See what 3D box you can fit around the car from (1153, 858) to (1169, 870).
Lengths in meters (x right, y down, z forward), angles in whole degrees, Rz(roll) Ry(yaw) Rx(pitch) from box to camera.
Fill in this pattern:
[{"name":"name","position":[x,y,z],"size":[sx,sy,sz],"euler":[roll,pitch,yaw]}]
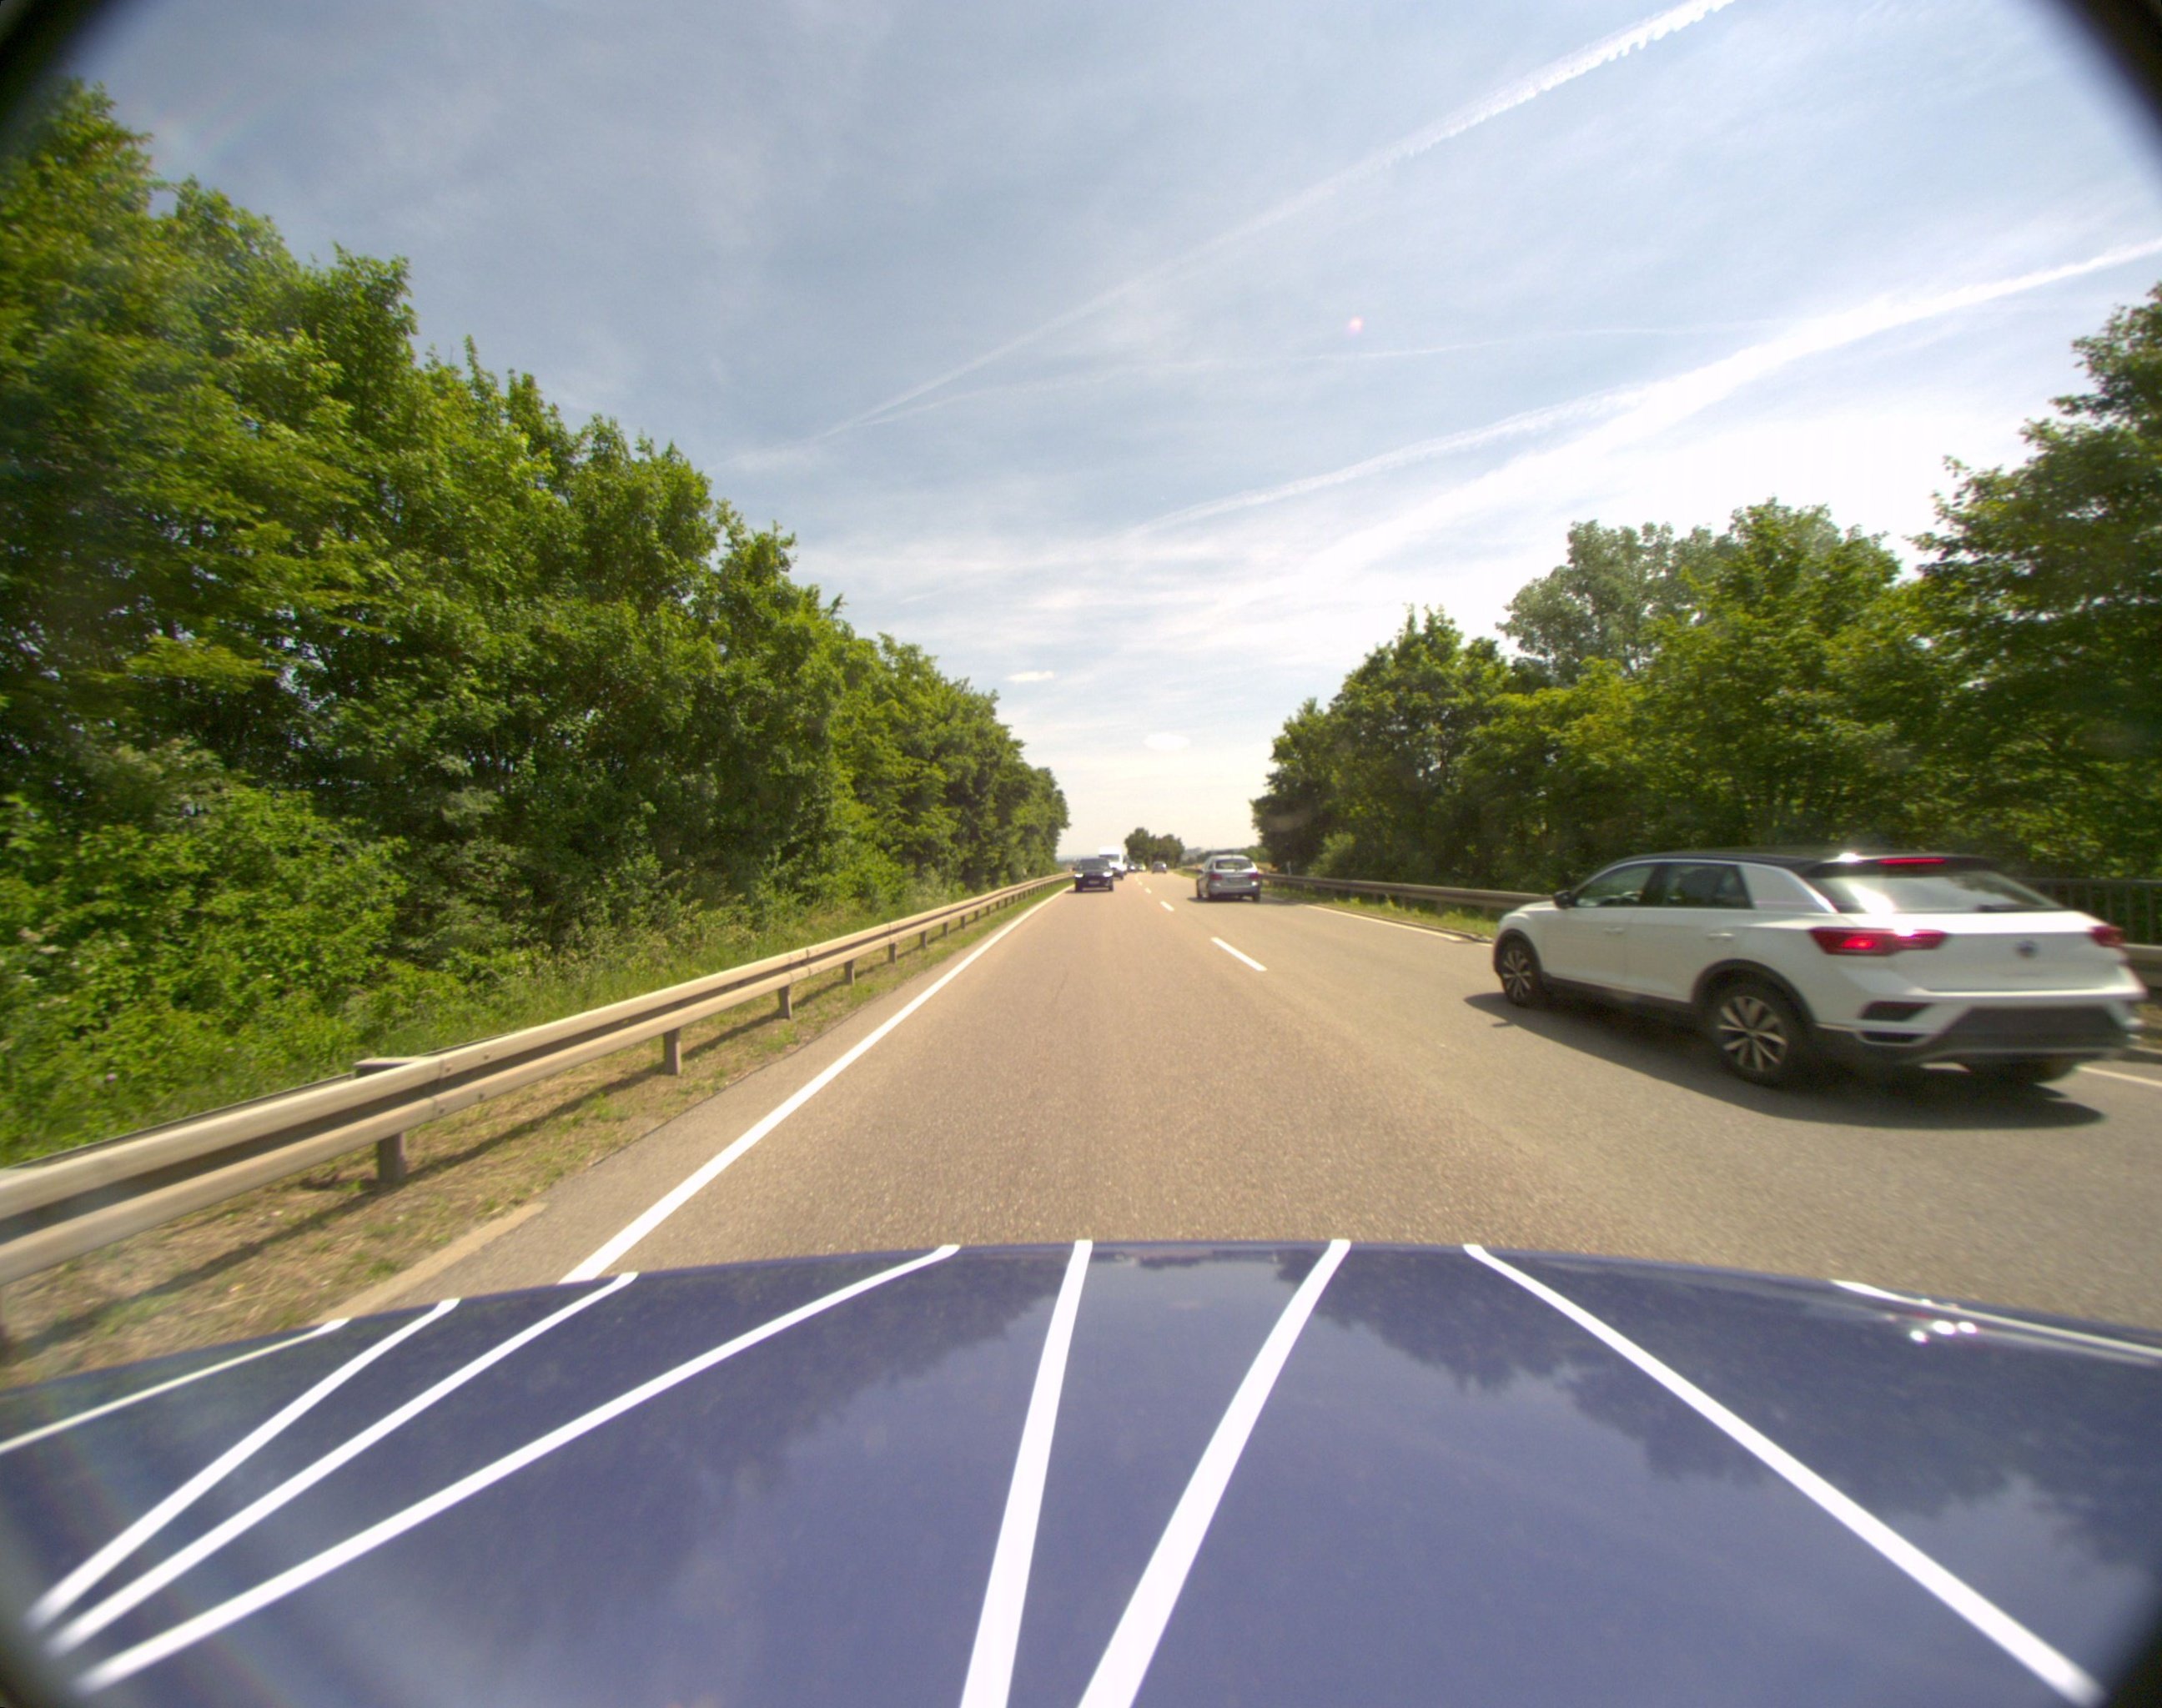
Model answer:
[{"name":"car","position":[10.194,1.294,96.234],"size":[1.747,1.458,5.131],"euler":[-1,0,8]}]

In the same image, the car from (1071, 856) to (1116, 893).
[{"name":"car","position":[0.703,0.944,38.154],"size":[2.039,1.691,5.514],"euler":[-1,0,2]}]

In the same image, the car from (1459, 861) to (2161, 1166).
[{"name":"car","position":[5.184,0.834,6.174],"size":[1.884,1.502,4.543],"euler":[-1,0,-1]}]

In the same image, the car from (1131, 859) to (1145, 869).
[{"name":"car","position":[9.555,1.691,127.726],"size":[2.038,1.641,4.747],"euler":[-1,0,7]}]

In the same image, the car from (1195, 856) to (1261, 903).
[{"name":"car","position":[5.205,0.847,27.417],"size":[1.664,1.542,4.338],"euler":[-1,0,2]}]

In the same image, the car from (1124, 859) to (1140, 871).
[{"name":"car","position":[7.406,1.609,109.414],"size":[2.038,1.641,4.747],"euler":[-1,0,7]}]

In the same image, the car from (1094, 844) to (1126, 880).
[{"name":"car","position":[2.409,0.567,60.680],"size":[2.225,2.618,5.753],"euler":[-2,2,5]}]
